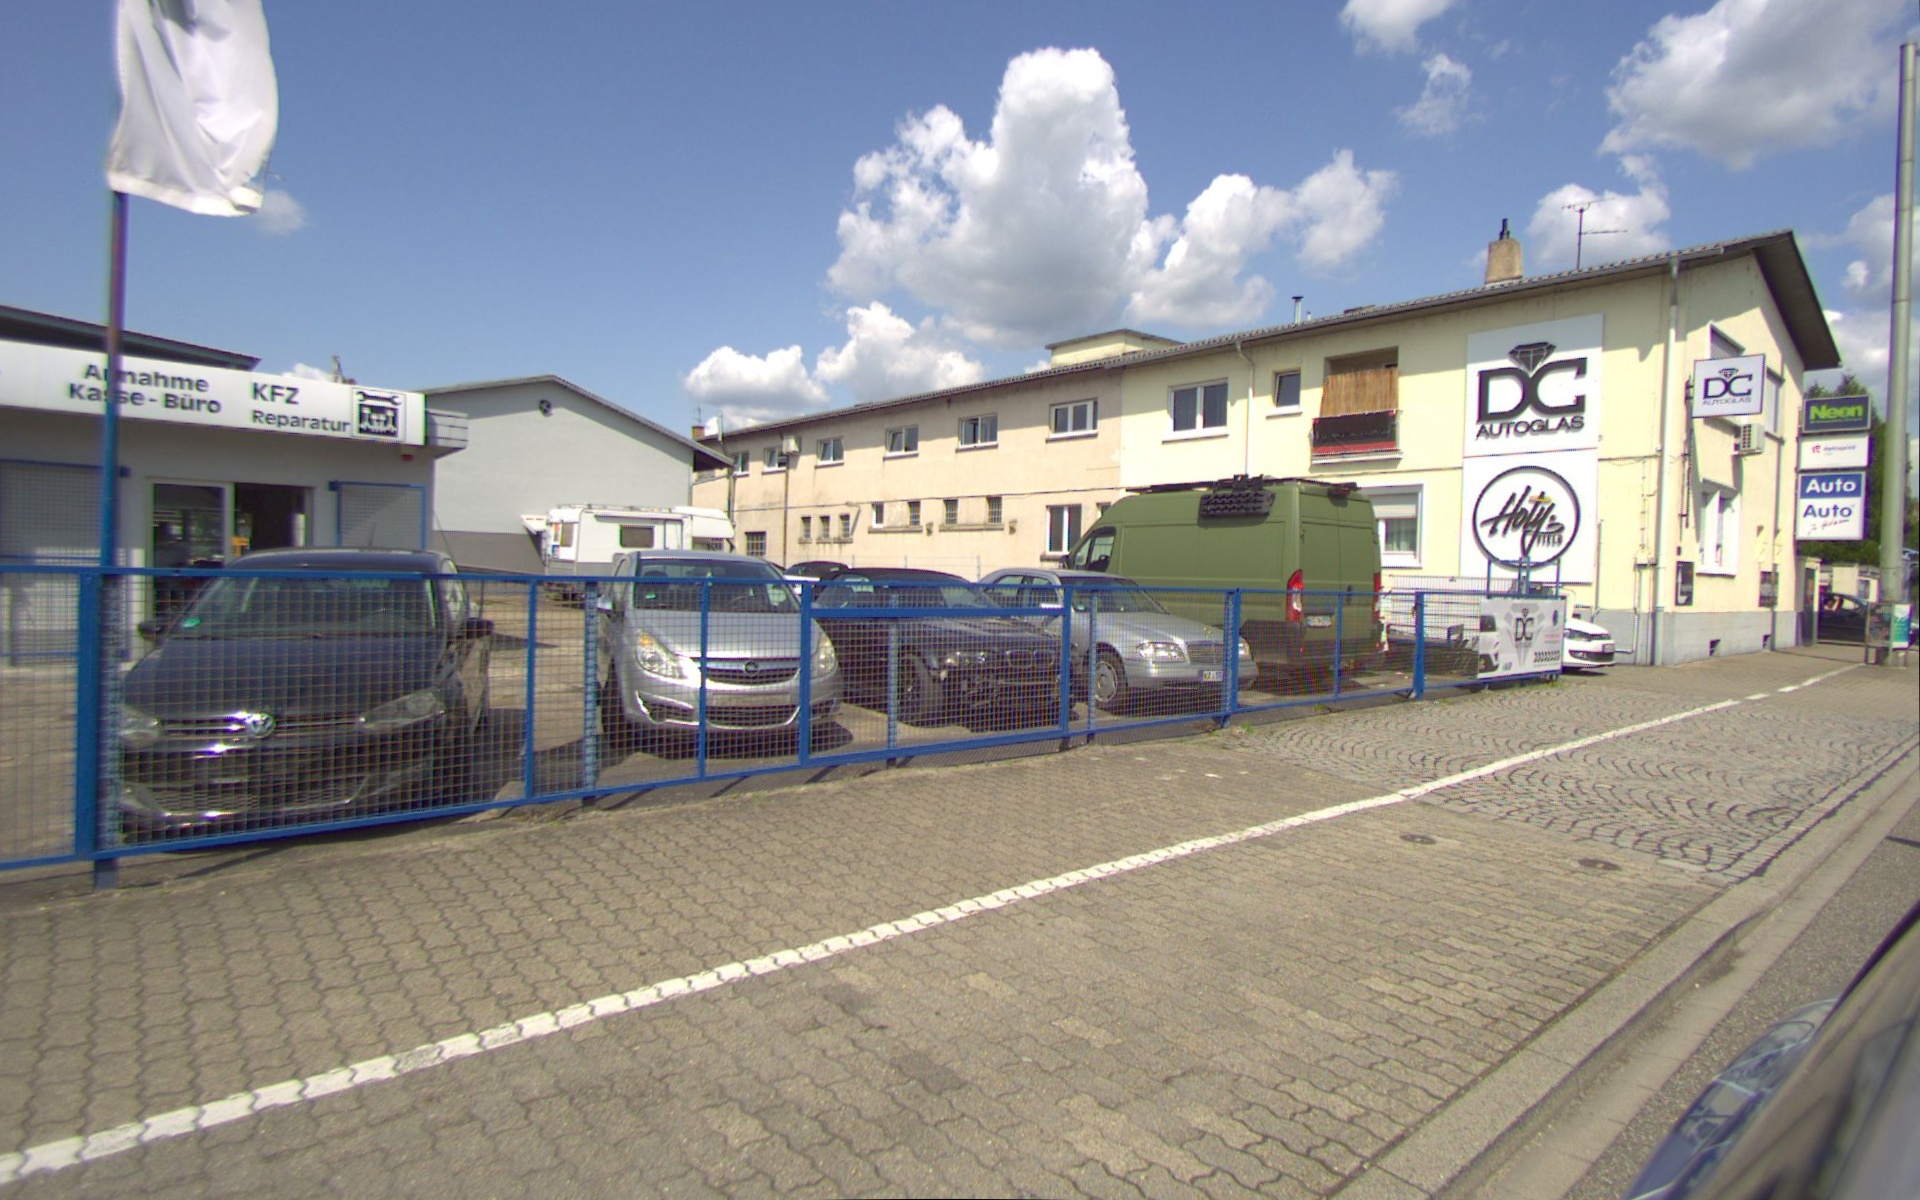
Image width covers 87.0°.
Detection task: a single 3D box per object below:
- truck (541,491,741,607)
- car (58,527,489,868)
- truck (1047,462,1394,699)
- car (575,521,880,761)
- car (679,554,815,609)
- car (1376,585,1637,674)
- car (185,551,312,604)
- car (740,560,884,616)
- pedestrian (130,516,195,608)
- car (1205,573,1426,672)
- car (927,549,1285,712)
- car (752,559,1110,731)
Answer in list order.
[{"bbox_3d":[-9.047,-1.426,28.974,5.000,3.045,2.158,-1,4,-42],"label":"truck"},{"bbox_3d":[-3.938,0.302,6.482,1.592,1.480,3.919,-1,3,-24],"label":"car"},{"bbox_3d":[3.390,-0.243,13.806,2.071,2.694,4.180,-1,0,-39],"label":"truck"},{"bbox_3d":[-2.251,0.236,8.768,1.789,1.524,4.271,-1,1,-24],"label":"car"},{"bbox_3d":[-5.665,-0.494,27.056,3.268,1.396,1.425,-1,1,-40],"label":"car"},{"bbox_3d":[9.408,0.441,17.670,1.490,1.375,3.727,-1,1,-37],"label":"car"},{"bbox_3d":[-25.363,-0.766,36.132,3.537,1.764,1.538,1,0,-43],"label":"car"},{"bbox_3d":[-3.574,-0.307,24.671,3.219,1.278,1.452,-1,1,-40],"label":"car"},{"bbox_3d":[-11.736,-0.546,14.894,0.696,1.318,0.626,0,0,39],"label":"pedestrian"},{"bbox_3d":[5.518,0.277,15.952,1.309,1.290,3.034,-1,4,-39],"label":"car"},{"bbox_3d":[1.473,0.265,11.816,1.792,1.527,4.265,-1,1,-32],"label":"car"},{"bbox_3d":[-0.528,0.318,10.428,1.707,1.391,4.265,0,1,-33],"label":"car"}]
